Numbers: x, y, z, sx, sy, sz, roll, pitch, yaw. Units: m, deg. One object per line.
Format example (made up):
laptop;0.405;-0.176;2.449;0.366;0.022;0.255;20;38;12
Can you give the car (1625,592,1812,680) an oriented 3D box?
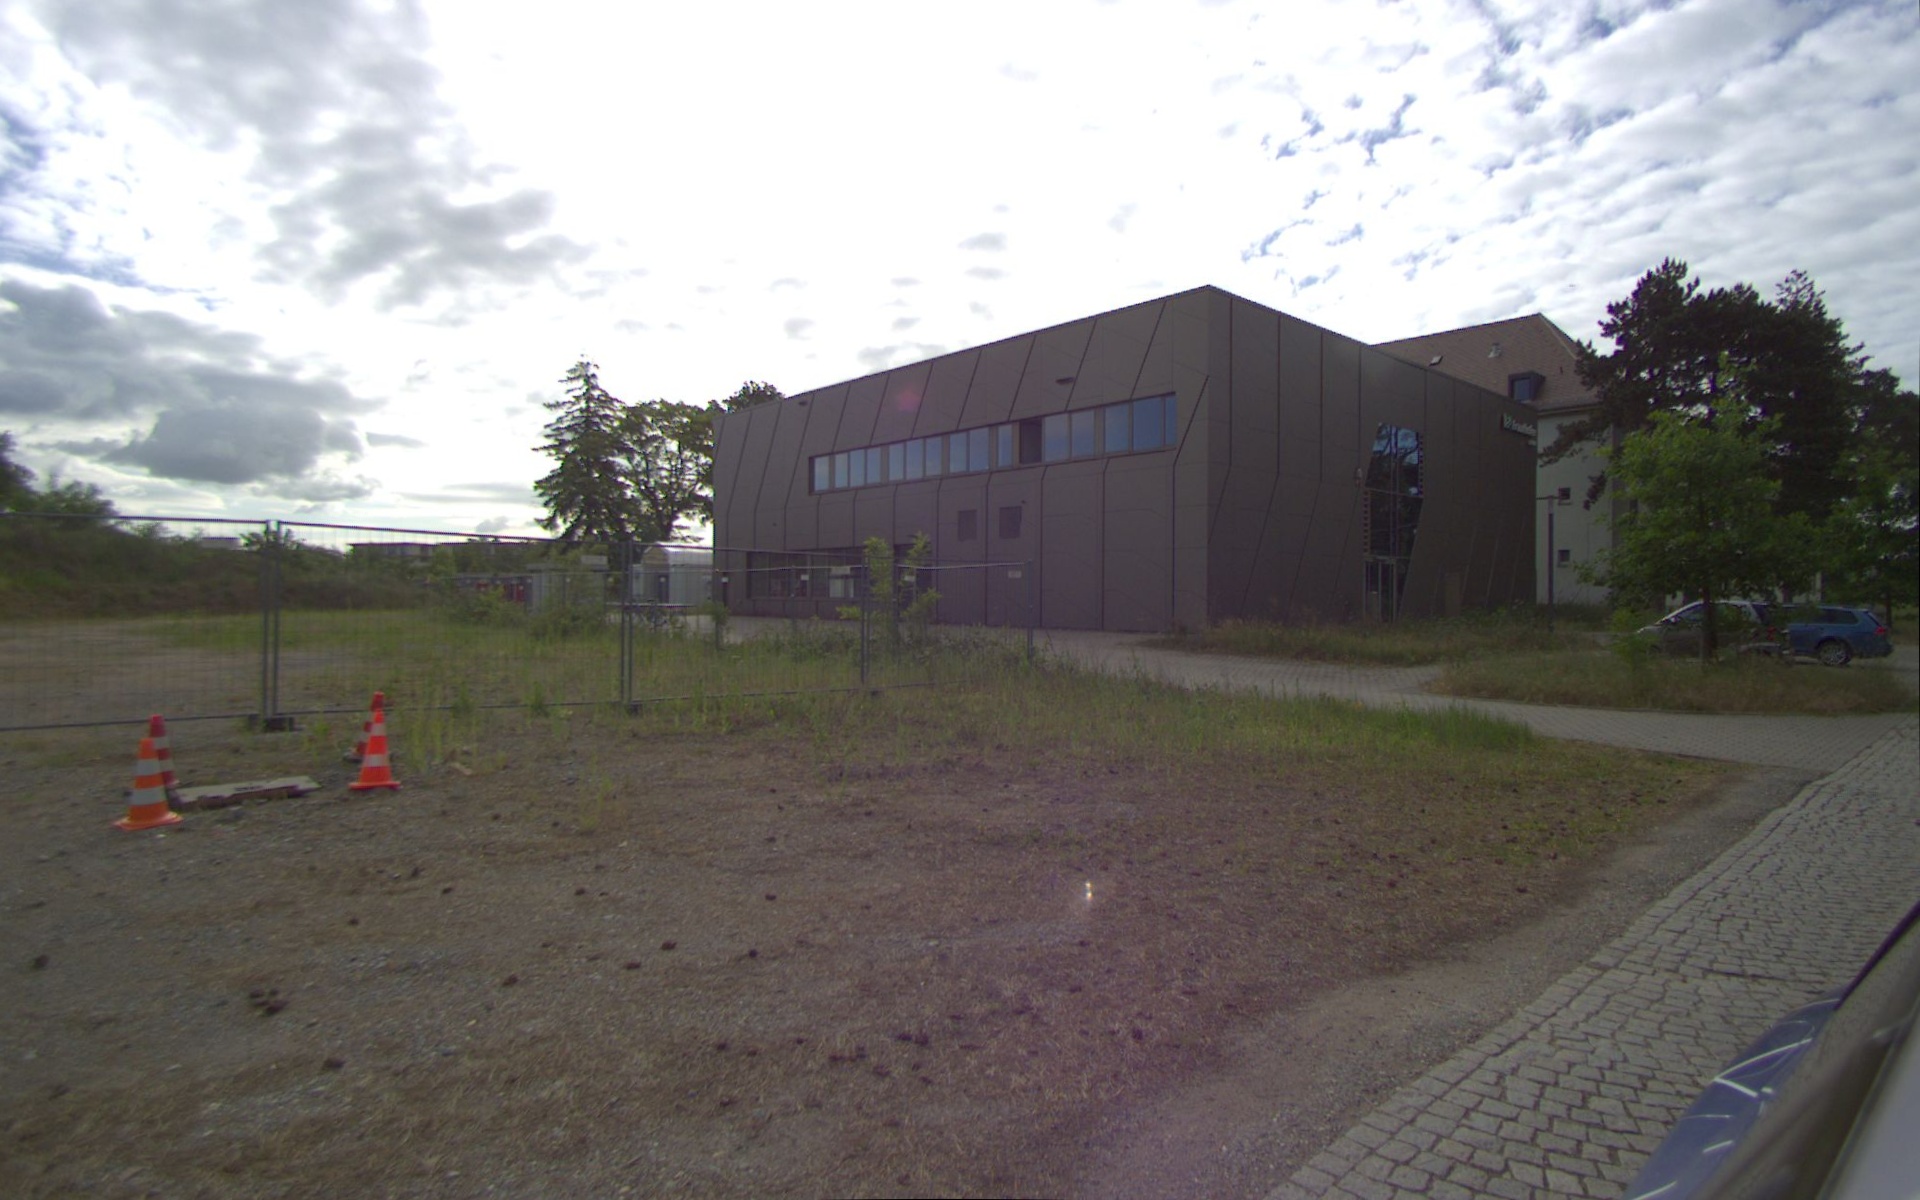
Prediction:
car;15.359;0.676;20.559;1.624;1.575;2.716;0;2;-40

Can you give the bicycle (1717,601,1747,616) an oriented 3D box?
bicycle;55.361;0.613;72.584;0.604;1.099;1.655;0;0;-39

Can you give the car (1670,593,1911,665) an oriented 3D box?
car;20.772;0.647;25.454;1.800;1.493;4.495;0;2;-44

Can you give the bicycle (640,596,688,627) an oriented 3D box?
bicycle;-10.830;0.411;37.061;1.624;1.099;0.512;0;0;-33

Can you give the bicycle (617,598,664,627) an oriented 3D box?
bicycle;-12.253;0.468;38.832;1.624;1.099;0.512;0;0;-33
